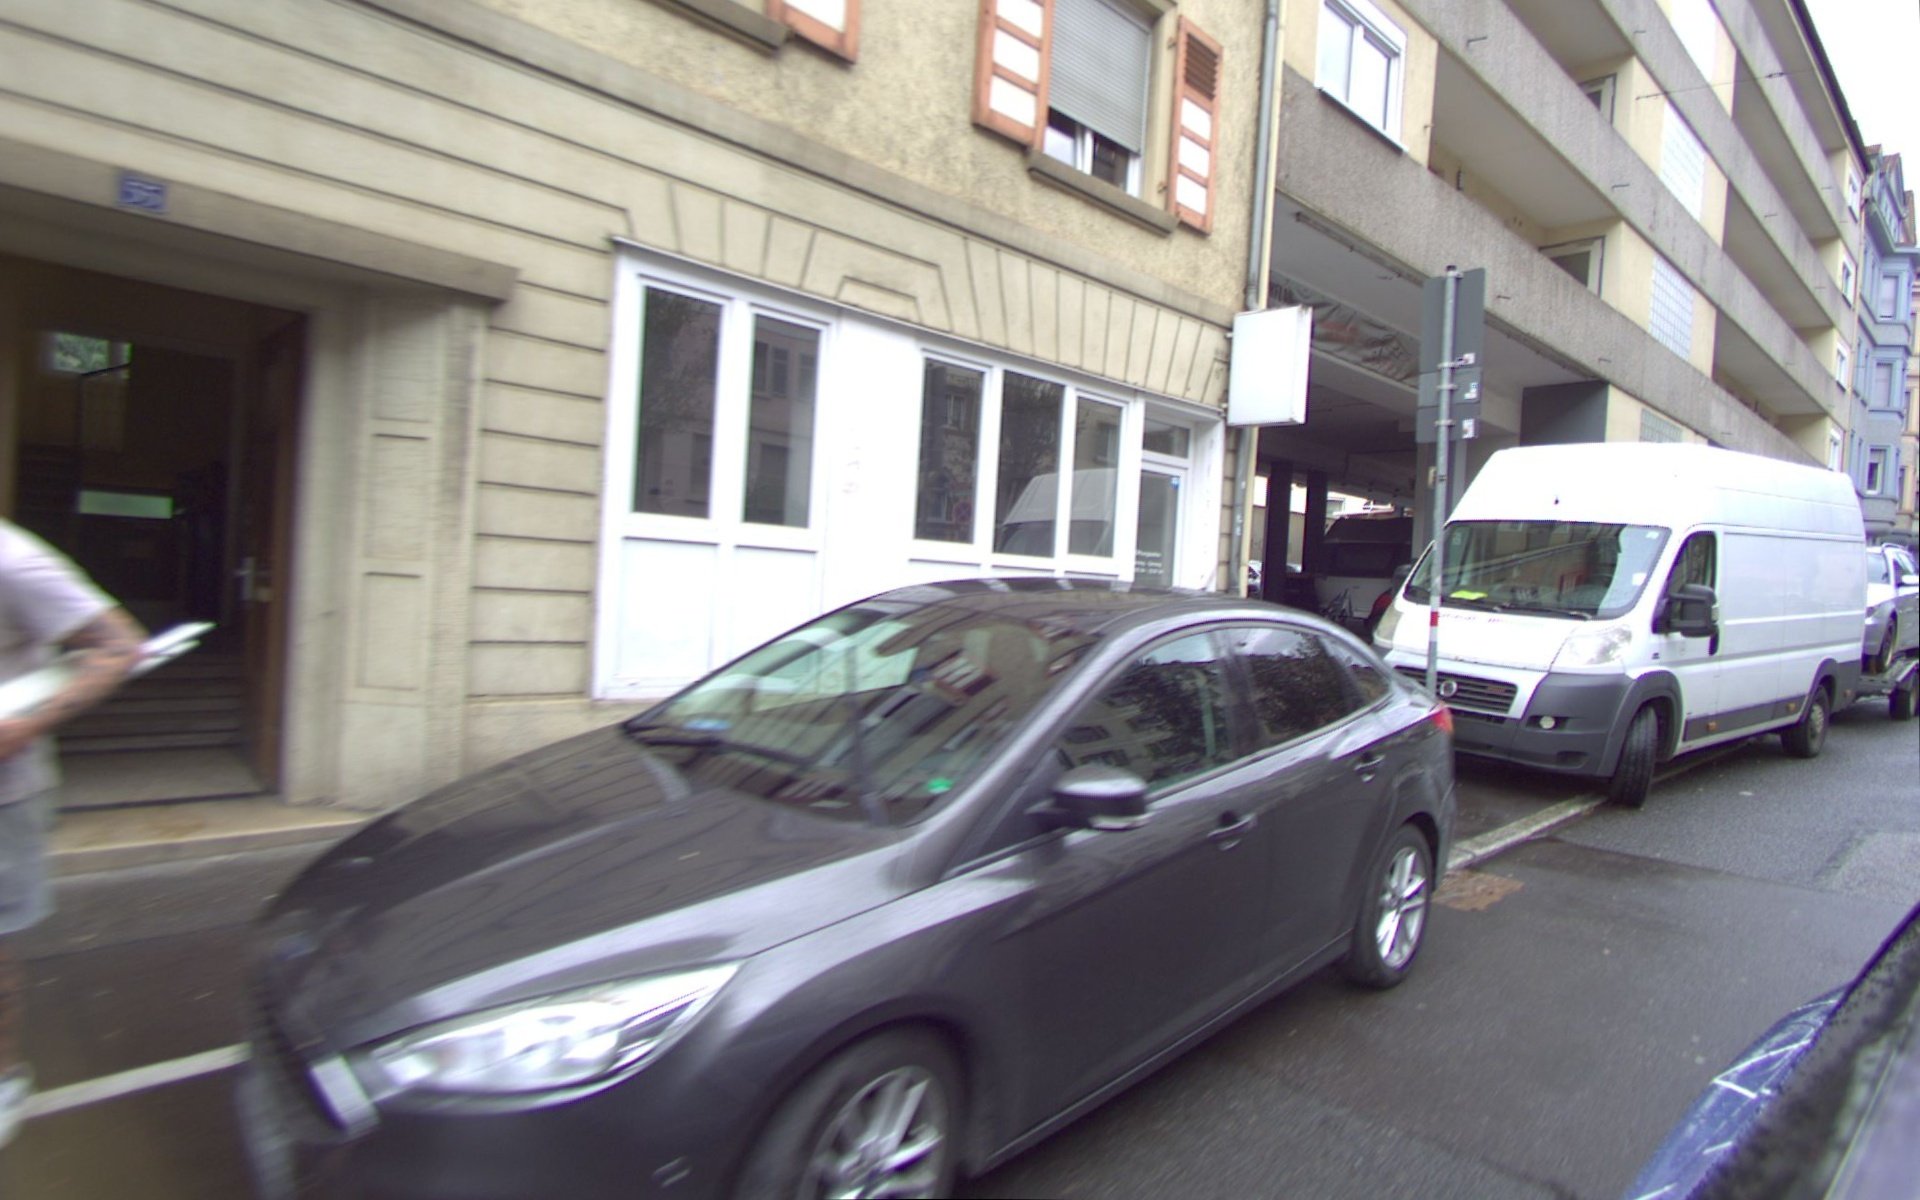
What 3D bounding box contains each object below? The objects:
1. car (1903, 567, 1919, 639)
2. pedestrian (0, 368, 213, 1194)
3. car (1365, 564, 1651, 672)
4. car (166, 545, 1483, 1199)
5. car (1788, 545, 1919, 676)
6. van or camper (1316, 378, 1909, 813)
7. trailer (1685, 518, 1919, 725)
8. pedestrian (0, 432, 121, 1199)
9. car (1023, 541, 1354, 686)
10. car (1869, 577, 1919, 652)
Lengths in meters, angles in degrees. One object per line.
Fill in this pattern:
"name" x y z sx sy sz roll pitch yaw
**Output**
"car" 28.985 0.101 29.275 4.740 1.979 1.993 -1 4 -42
"pedestrian" -2.368 0.381 2.390 0.678 1.808 0.709 4 4 20
"car" 9.324 0.218 17.500 1.530 1.408 3.998 0 5 -40
"car" 0.065 0.609 3.389 4.122 1.497 1.779 -2 4 -45
"car" 17.896 0.122 19.484 5.417 2.174 2.158 -1 4 -42
"van or camper" 6.114 -0.084 9.081 6.298 2.732 2.192 0 3 -36
"trailer" 11.539 0.196 13.204 4.980 2.178 2.000 1 4 -39
"pedestrian" -1.914 0.576 1.622 0.628 1.709 0.629 7 8 20
"car" 2.829 0.090 12.997 3.655 1.408 1.868 7 4 44
"car" 23.284 0.316 24.244 4.201 1.659 1.749 -1 4 -42
